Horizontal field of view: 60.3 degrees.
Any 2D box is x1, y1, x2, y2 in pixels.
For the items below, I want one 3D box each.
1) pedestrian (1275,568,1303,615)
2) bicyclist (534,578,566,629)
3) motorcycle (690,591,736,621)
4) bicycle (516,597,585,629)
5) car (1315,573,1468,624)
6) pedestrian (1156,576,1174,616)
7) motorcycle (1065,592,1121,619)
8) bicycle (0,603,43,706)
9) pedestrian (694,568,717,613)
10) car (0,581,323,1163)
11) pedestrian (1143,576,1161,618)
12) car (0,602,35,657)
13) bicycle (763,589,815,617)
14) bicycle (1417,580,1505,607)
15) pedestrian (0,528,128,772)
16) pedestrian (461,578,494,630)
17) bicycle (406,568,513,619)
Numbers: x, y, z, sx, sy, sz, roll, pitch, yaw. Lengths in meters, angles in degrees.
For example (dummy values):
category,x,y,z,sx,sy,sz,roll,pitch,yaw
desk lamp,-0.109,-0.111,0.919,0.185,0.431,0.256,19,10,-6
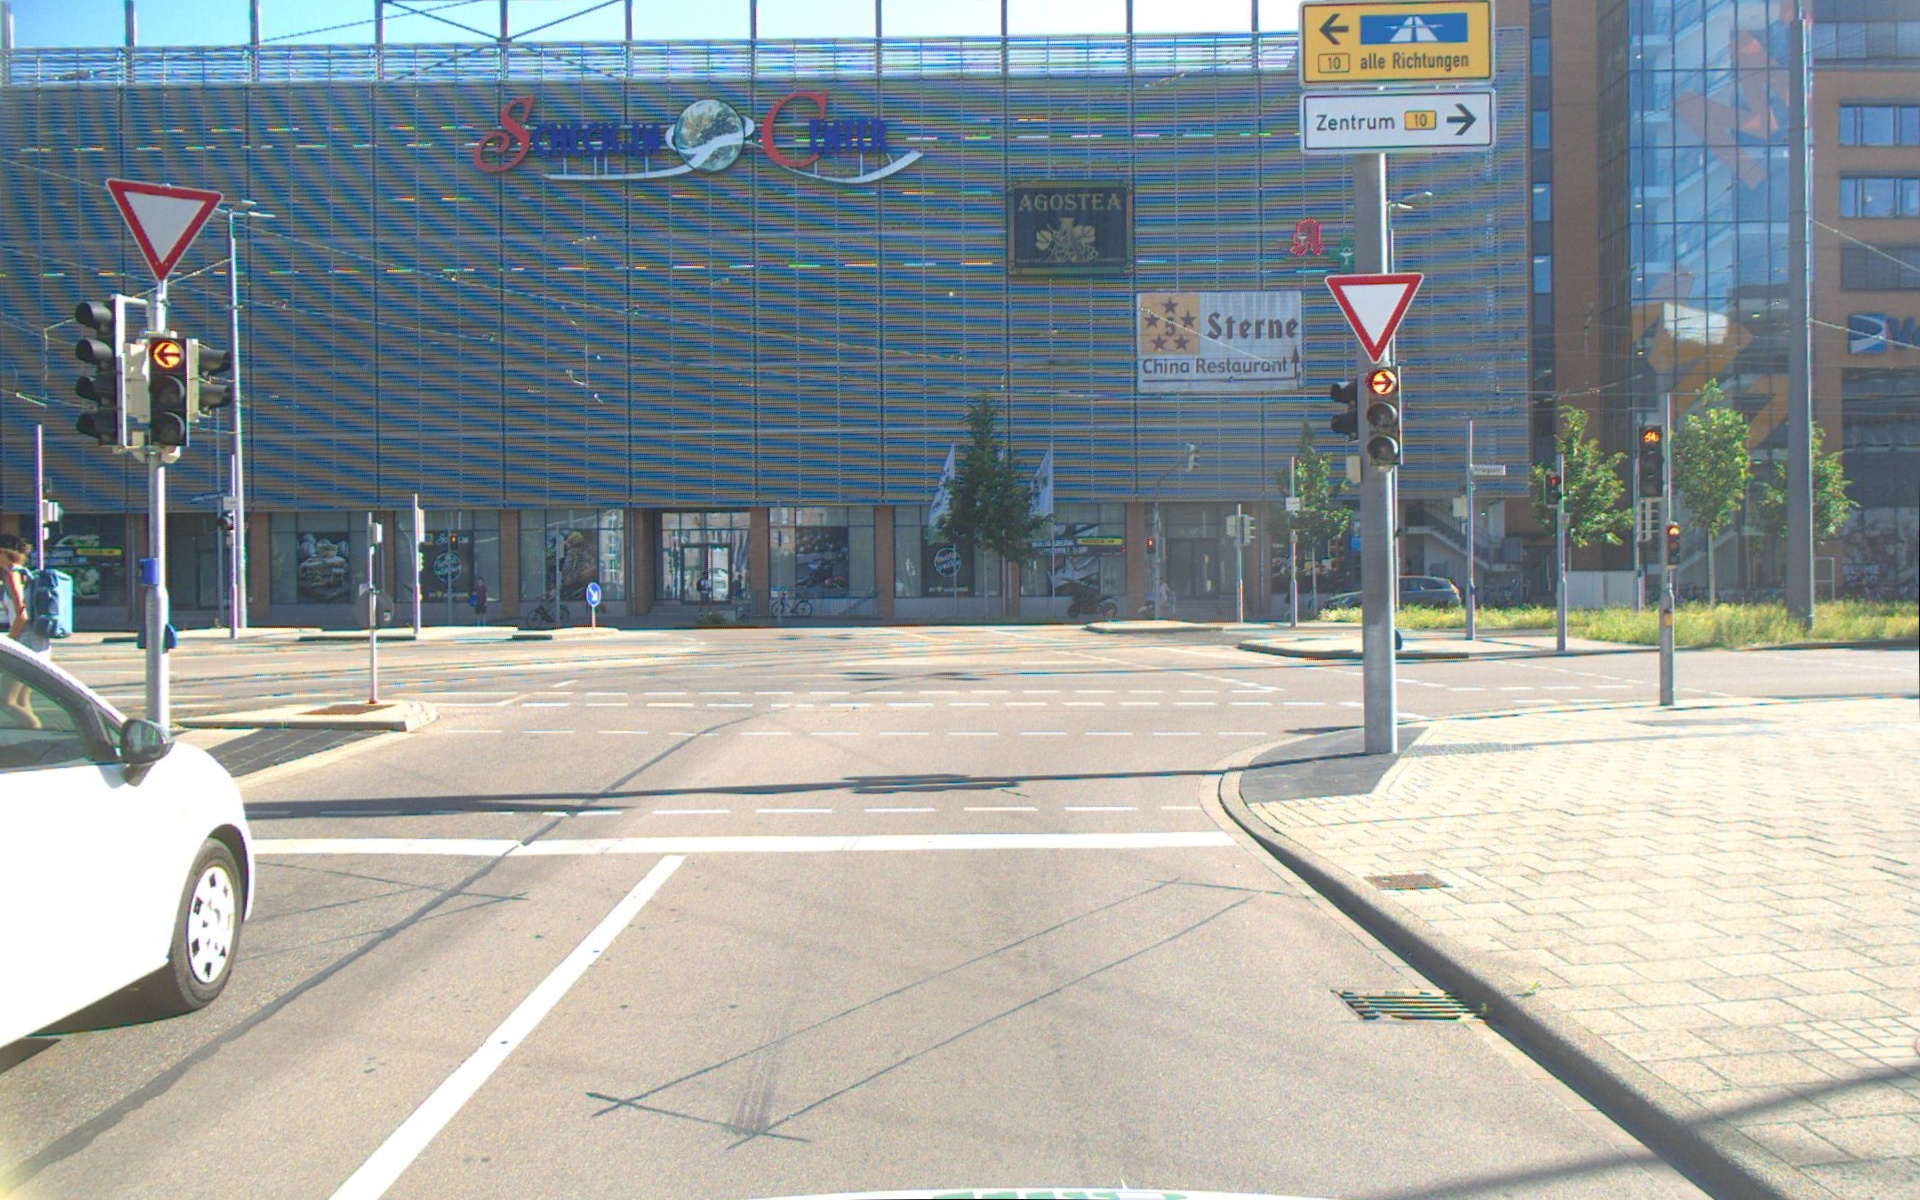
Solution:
category,x,y,z,sx,sy,sz,roll,pitch,yaw
pedestrian,12.483,-0.313,62.727,0.837,1.768,0.752,-1,0,-7
bicyclist,-15.014,0.124,60.563,0.838,1.834,0.803,-1,0,-43
motorcycle,-9.174,0.219,61.471,1.616,1.078,0.498,-1,0,8
bicycle,-15.008,0.467,60.610,2.226,1.089,1.030,-1,1,-42
car,13.482,-0.043,51.838,4.396,1.521,1.494,-1,0,-1
pedestrian,7.743,-0.164,62.347,0.577,1.488,0.658,-1,0,-1
motorcycle,5.375,0.235,66.817,2.158,1.061,1.061,0,1,-1
bicycle,-11.581,0.618,18.817,1.791,1.135,0.853,-1,0,-1
pedestrian,-10.251,-0.398,66.724,0.831,1.794,0.620,-1,0,-2
car,-3.233,0.683,4.426,1.599,1.448,3.781,2,0,-1
pedestrian,7.157,-0.117,61.624,0.577,1.561,0.658,-1,0,-1
car,-33.855,0.976,57.256,3.921,1.825,1.751,1,0,37
bicycle,-6.880,0.120,66.519,1.985,1.078,1.145,-1,0,-2
bicycle,20.442,-0.272,67.543,3.289,1.096,1.117,0,1,5
pedestrian,-6.744,0.352,12.170,0.867,1.737,0.712,-1,0,-1
pedestrian,-17.701,0.136,60.703,0.890,1.901,0.816,0,0,42
bicycle,-20.338,-0.276,67.278,3.906,2.049,1.330,0,1,-1
